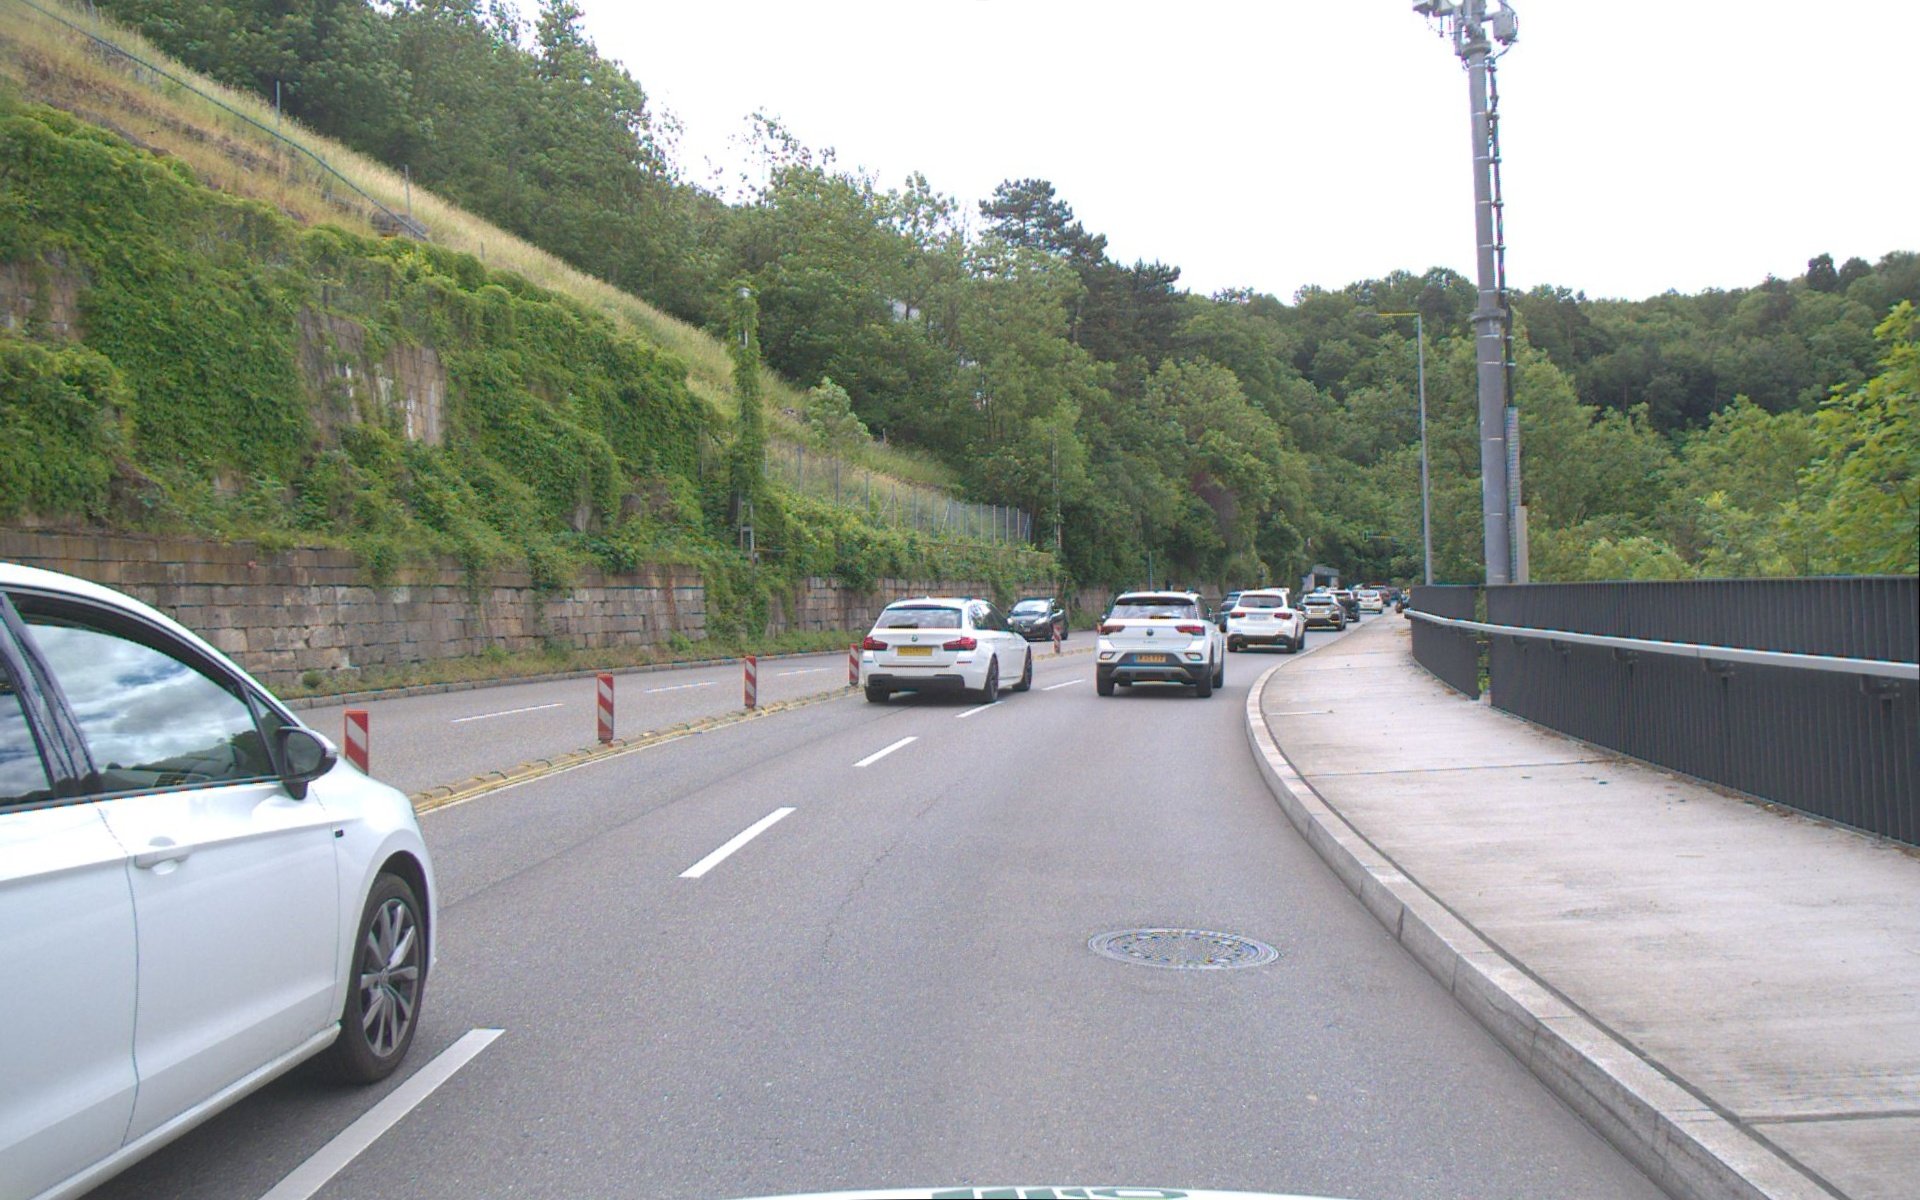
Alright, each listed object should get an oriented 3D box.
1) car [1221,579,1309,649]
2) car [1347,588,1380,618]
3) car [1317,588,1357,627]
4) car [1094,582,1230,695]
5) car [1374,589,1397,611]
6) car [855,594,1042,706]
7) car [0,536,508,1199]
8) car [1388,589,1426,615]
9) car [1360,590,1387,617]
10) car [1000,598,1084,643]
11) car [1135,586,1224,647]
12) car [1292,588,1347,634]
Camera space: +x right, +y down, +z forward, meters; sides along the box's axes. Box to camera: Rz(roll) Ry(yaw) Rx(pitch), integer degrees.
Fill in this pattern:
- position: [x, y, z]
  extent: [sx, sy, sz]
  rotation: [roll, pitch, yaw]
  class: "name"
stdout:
- position: [8.359, 0.391, 45.099]
  extent: [1.951, 1.748, 4.116]
  rotation: [-2, -1, 16]
  class: "car"
- position: [26.072, 0.167, 106.766]
  extent: [1.951, 1.892, 4.003]
  rotation: [0, 0, 15]
  class: "car"
- position: [17.874, 0.352, 78.426]
  extent: [1.707, 1.812, 3.537]
  rotation: [0, 0, 15]
  class: "car"
- position: [3.263, 0.561, 26.127]
  extent: [1.789, 1.634, 4.003]
  rotation: [0, 0, 12]
  class: "car"
- position: [40.953, 0.023, 159.057]
  extent: [1.951, 2.049, 4.002]
  rotation: [0, 0, 17]
  class: "car"
- position: [-0.061, 0.672, 24.579]
  extent: [1.789, 1.485, 4.490]
  rotation: [-1, 0, 13]
  class: "car"
- position: [-2.565, 0.679, 3.665]
  extent: [1.783, 1.608, 4.357]
  rotation: [1, 0, 2]
  class: "car"
- position: [26.014, 0.102, 96.328]
  extent: [1.776, 1.534, 4.004]
  rotation: [0, 0, 10]
  class: "car"
- position: [33.049, 0.275, 132.104]
  extent: [1.951, 2.049, 4.002]
  rotation: [0, 0, 17]
  class: "car"
- position: [2.885, 0.673, 57.297]
  extent: [1.672, 1.467, 3.999]
  rotation: [0, 0, 23]
  class: "car"
- position: [6.452, 0.467, 48.163]
  extent: [1.952, 1.529, 4.671]
  rotation: [5, 1, 14]
  class: "car"
- position: [14.134, 0.399, 64.859]
  extent: [1.951, 1.747, 4.003]
  rotation: [0, 0, 15]
  class: "car"
